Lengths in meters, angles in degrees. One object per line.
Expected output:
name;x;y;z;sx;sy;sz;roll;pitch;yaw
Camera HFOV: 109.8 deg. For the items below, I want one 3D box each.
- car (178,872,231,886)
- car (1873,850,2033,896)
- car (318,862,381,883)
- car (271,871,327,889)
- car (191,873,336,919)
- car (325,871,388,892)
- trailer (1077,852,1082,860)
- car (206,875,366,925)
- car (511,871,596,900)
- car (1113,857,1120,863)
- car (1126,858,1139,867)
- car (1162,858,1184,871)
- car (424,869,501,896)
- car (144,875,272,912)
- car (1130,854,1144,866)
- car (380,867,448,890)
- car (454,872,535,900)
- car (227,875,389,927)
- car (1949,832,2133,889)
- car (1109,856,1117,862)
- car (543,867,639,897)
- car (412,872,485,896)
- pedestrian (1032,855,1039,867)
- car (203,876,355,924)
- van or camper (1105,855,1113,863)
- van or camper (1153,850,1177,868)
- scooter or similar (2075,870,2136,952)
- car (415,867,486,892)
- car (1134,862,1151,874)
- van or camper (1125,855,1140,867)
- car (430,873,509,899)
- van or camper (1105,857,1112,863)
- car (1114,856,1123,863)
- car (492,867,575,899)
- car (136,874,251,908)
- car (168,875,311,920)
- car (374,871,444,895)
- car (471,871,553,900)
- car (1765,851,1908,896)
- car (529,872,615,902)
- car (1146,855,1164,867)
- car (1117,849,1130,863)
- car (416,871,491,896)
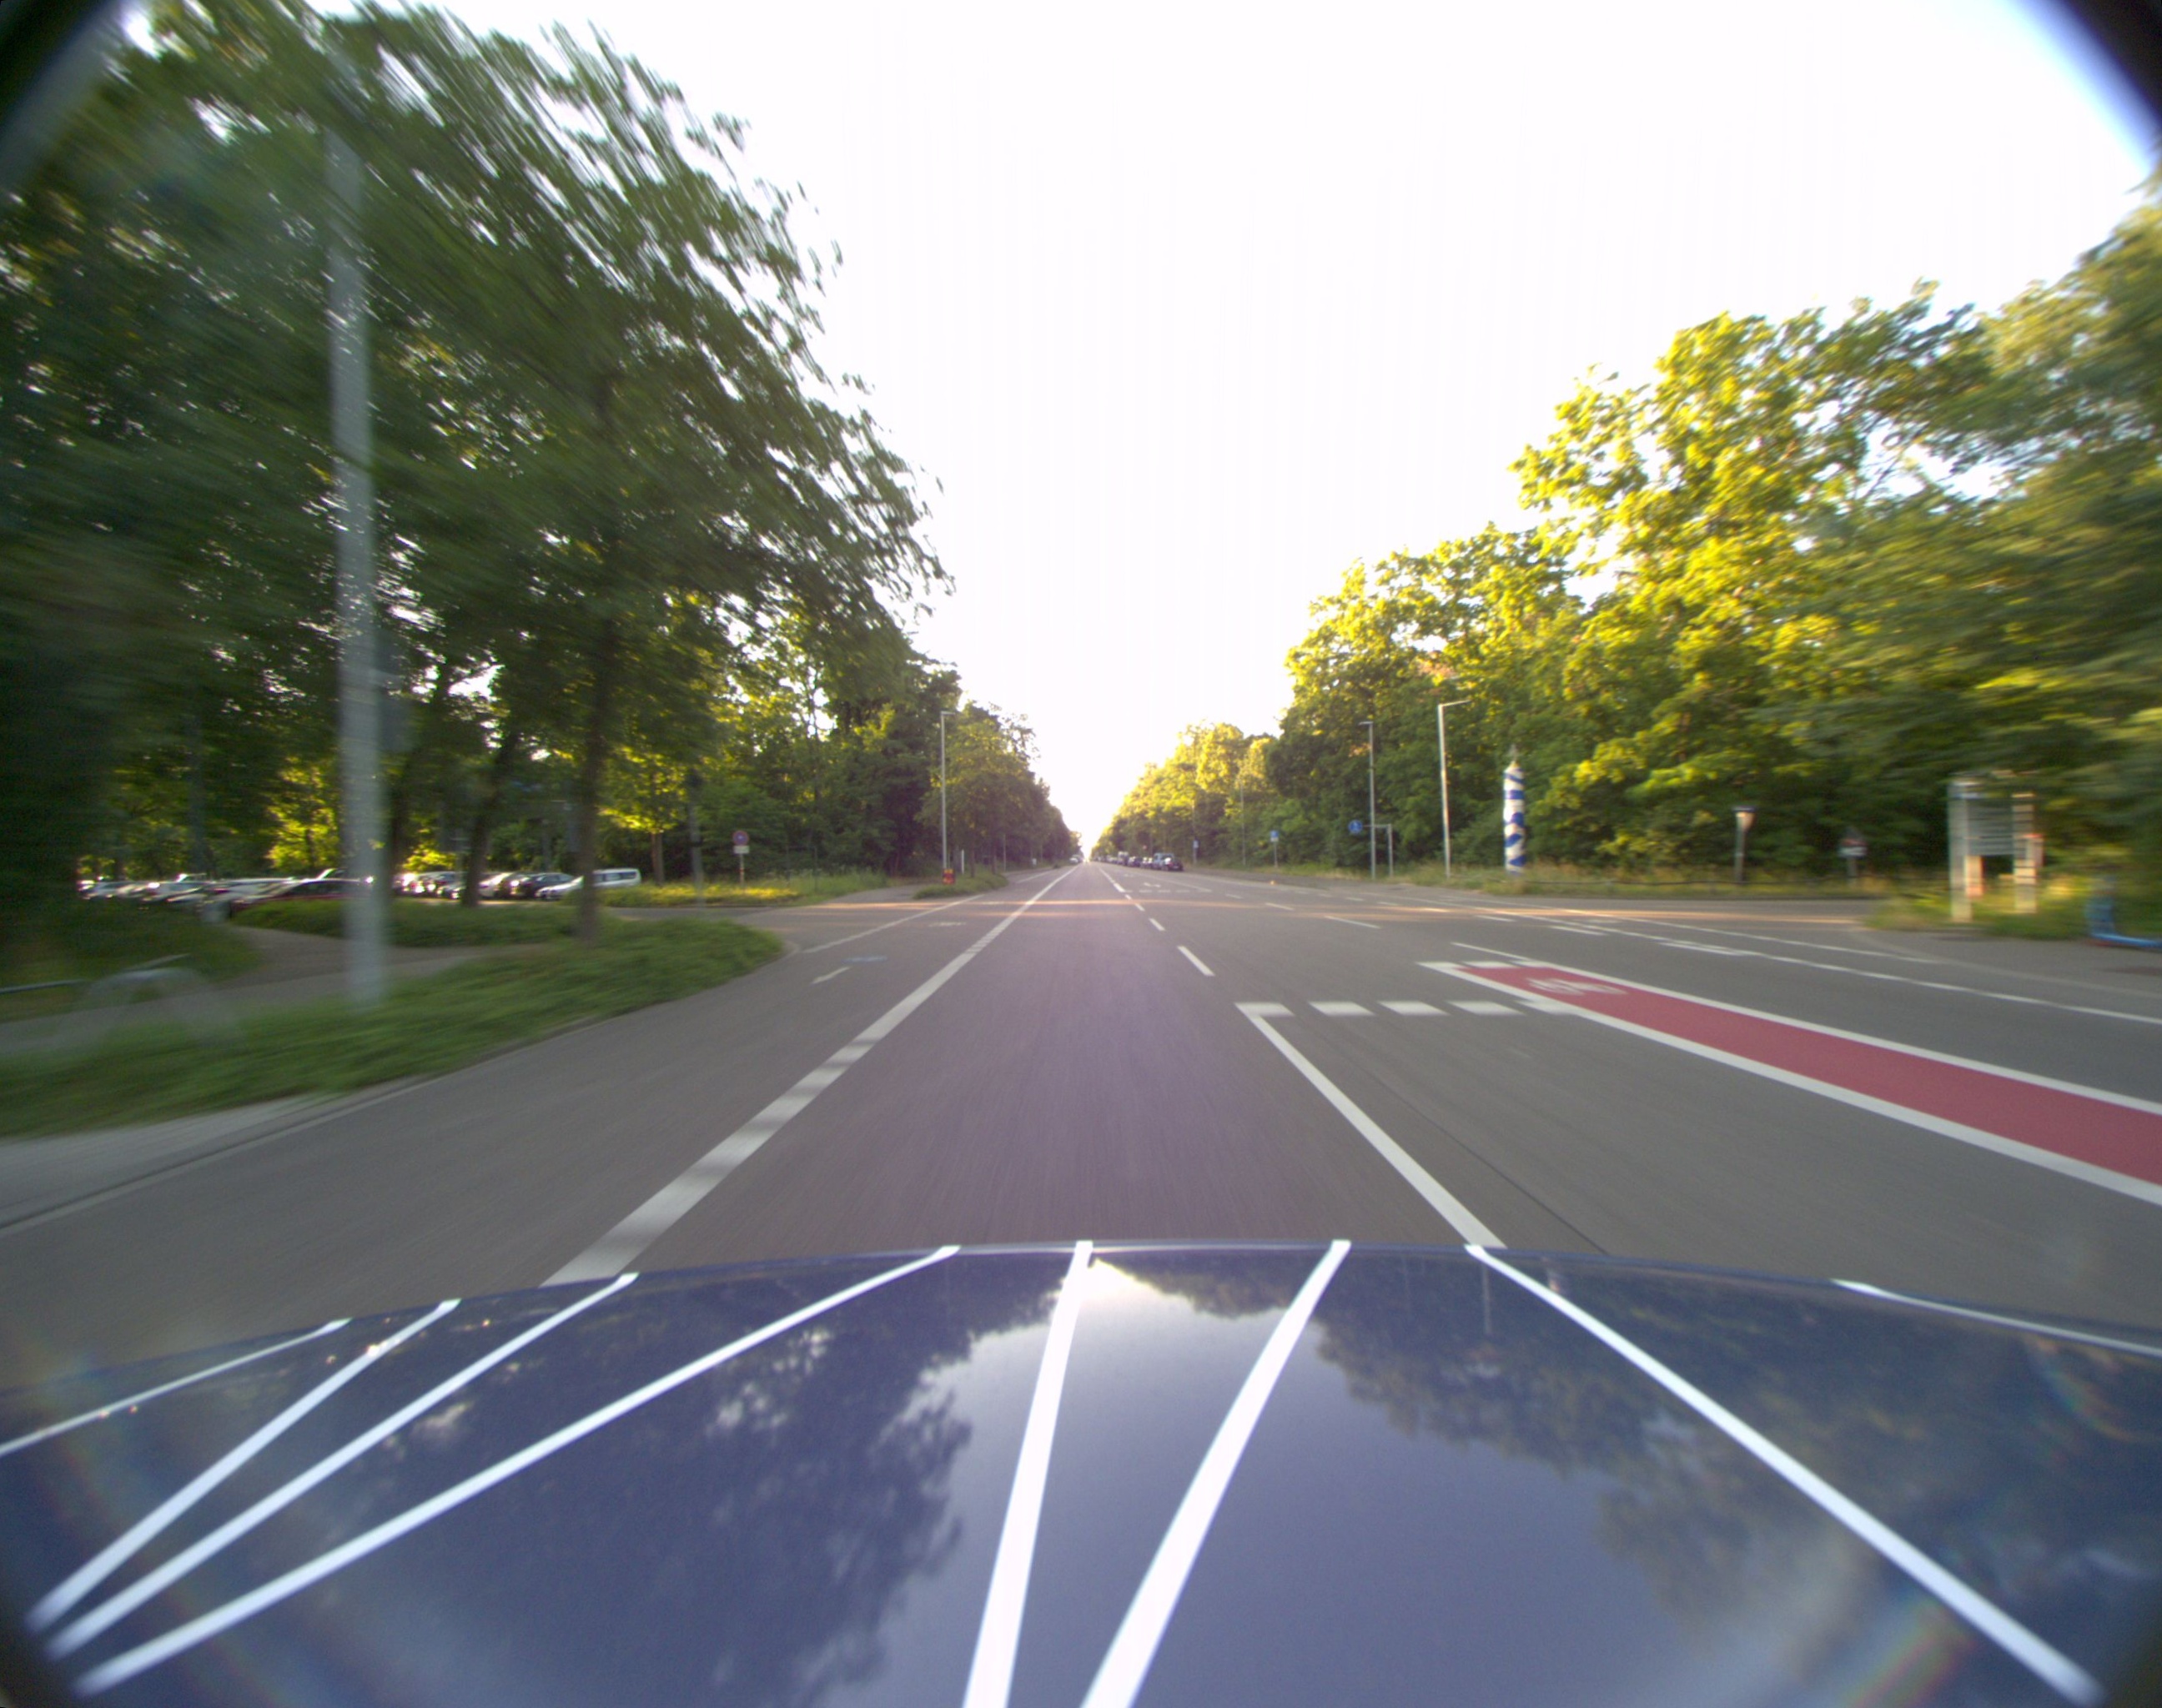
car;-108.580;3.071;94.160;1.689;1.537;4.119;-1;2;34
car;30.079;0.616;26.362;1.748;1.444;3.344;-1;0;3
car;-64.291;1.608;66.822;1.537;1.652;3.650;-1;0;34
car;-77.673;2.522;75.518;1.537;1.652;3.650;-1;0;34
car;-33.506;1.673;31.248;1.537;1.637;3.848;-1;0;34
car;-62.671;2.329;65.768;1.537;1.652;3.650;-1;0;34
trailer;-0.503;0.572;257.158;1.866;2.633;4.270;-2;0;0
car;-29.318;1.636;28.142;1.537;1.576;3.848;-1;0;34
car;-30.188;1.797;43.586;1.537;1.473;3.650;-1;0;30
car;8.758;1.478;187.734;1.716;1.499;3.657;1;-1;0
car;8.088;1.331;120.128;1.673;1.492;4.246;1;0;-1
car;10.214;1.130;84.598;1.692;1.453;4.241;0;0;-5
car;-40.990;1.868;50.425;1.537;1.652;3.650;-1;0;30
car;-43.300;1.915;37.774;1.537;1.637;4.002;-1;-1;34
car;8.440;0.931;115.144;1.749;1.702;4.522;1;0;-1
car;-51.936;1.882;59.210;1.537;1.652;3.650;-1;0;30
car;-36.259;1.951;47.039;1.537;1.535;3.650;-1;0;30
car;-27.661;1.623;27.306;1.537;1.576;3.848;-1;0;34
car;32.676;0.201;26.038;1.748;1.773;3.673;-1;0;3
car;8.864;1.499;211.172;1.699;1.636;4.573;1;-1;-1
car;-26.036;1.459;40.511;1.537;1.388;4.007;-1;0;30
car;-44.642;2.087;53.701;1.537;1.535;3.650;-1;0;30
pedestrian;-6.354;0.958;106.370;0.840;1.741;0.726;-1;0;1
car;-31.264;1.739;29.727;1.537;1.637;3.848;-1;0;34
van or camper;8.742;1.639;238.901;2.116;2.376;6.381;2;-1;-1
van or camper;9.937;0.549;90.356;2.037;2.081;5.013;0;0;-3
scooter or similar;14.630;0.786;10.865;0.360;1.103;0.881;-1;1;43
car;-46.256;1.840;55.814;1.537;1.652;3.650;-1;0;30
car;8.129;1.869;100.966;1.621;1.525;4.038;1;0;-5
van or camper;8.798;1.132;130.265;2.008;2.006;5.460;1;0;-1
car;-39.367;2.041;49.004;1.537;1.535;3.650;-1;0;30
van or camper;9.251;2.067;258.308;2.034;1.945;4.692;2;-1;-2
car;8.748;1.312;177.583;1.850;1.454;4.229;1;-1;-2
car;-32.341;1.696;44.955;1.537;1.696;3.650;-1;0;30
car;-45.210;1.851;38.779;1.537;1.541;3.650;-1;0;34
car;-35.505;1.794;32.149;1.537;1.637;3.848;-1;0;34
car;-50.882;2.190;57.601;1.537;1.652;3.650;-1;0;30
car;-34.203;1.852;45.761;1.537;1.535;3.650;-1;0;30
car;26.188;0.630;26.494;1.748;1.444;3.344;-1;0;3
car;-28.420;1.814;42.536;1.537;1.473;3.650;-1;0;30
car;9.375;0.920;96.281;1.547;1.484;3.970;0;0;-6
car;8.621;0.438;154.092;2.084;2.591;7.089;2;0;0
car;-42.885;1.999;51.987;1.537;1.535;3.650;-1;0;30
